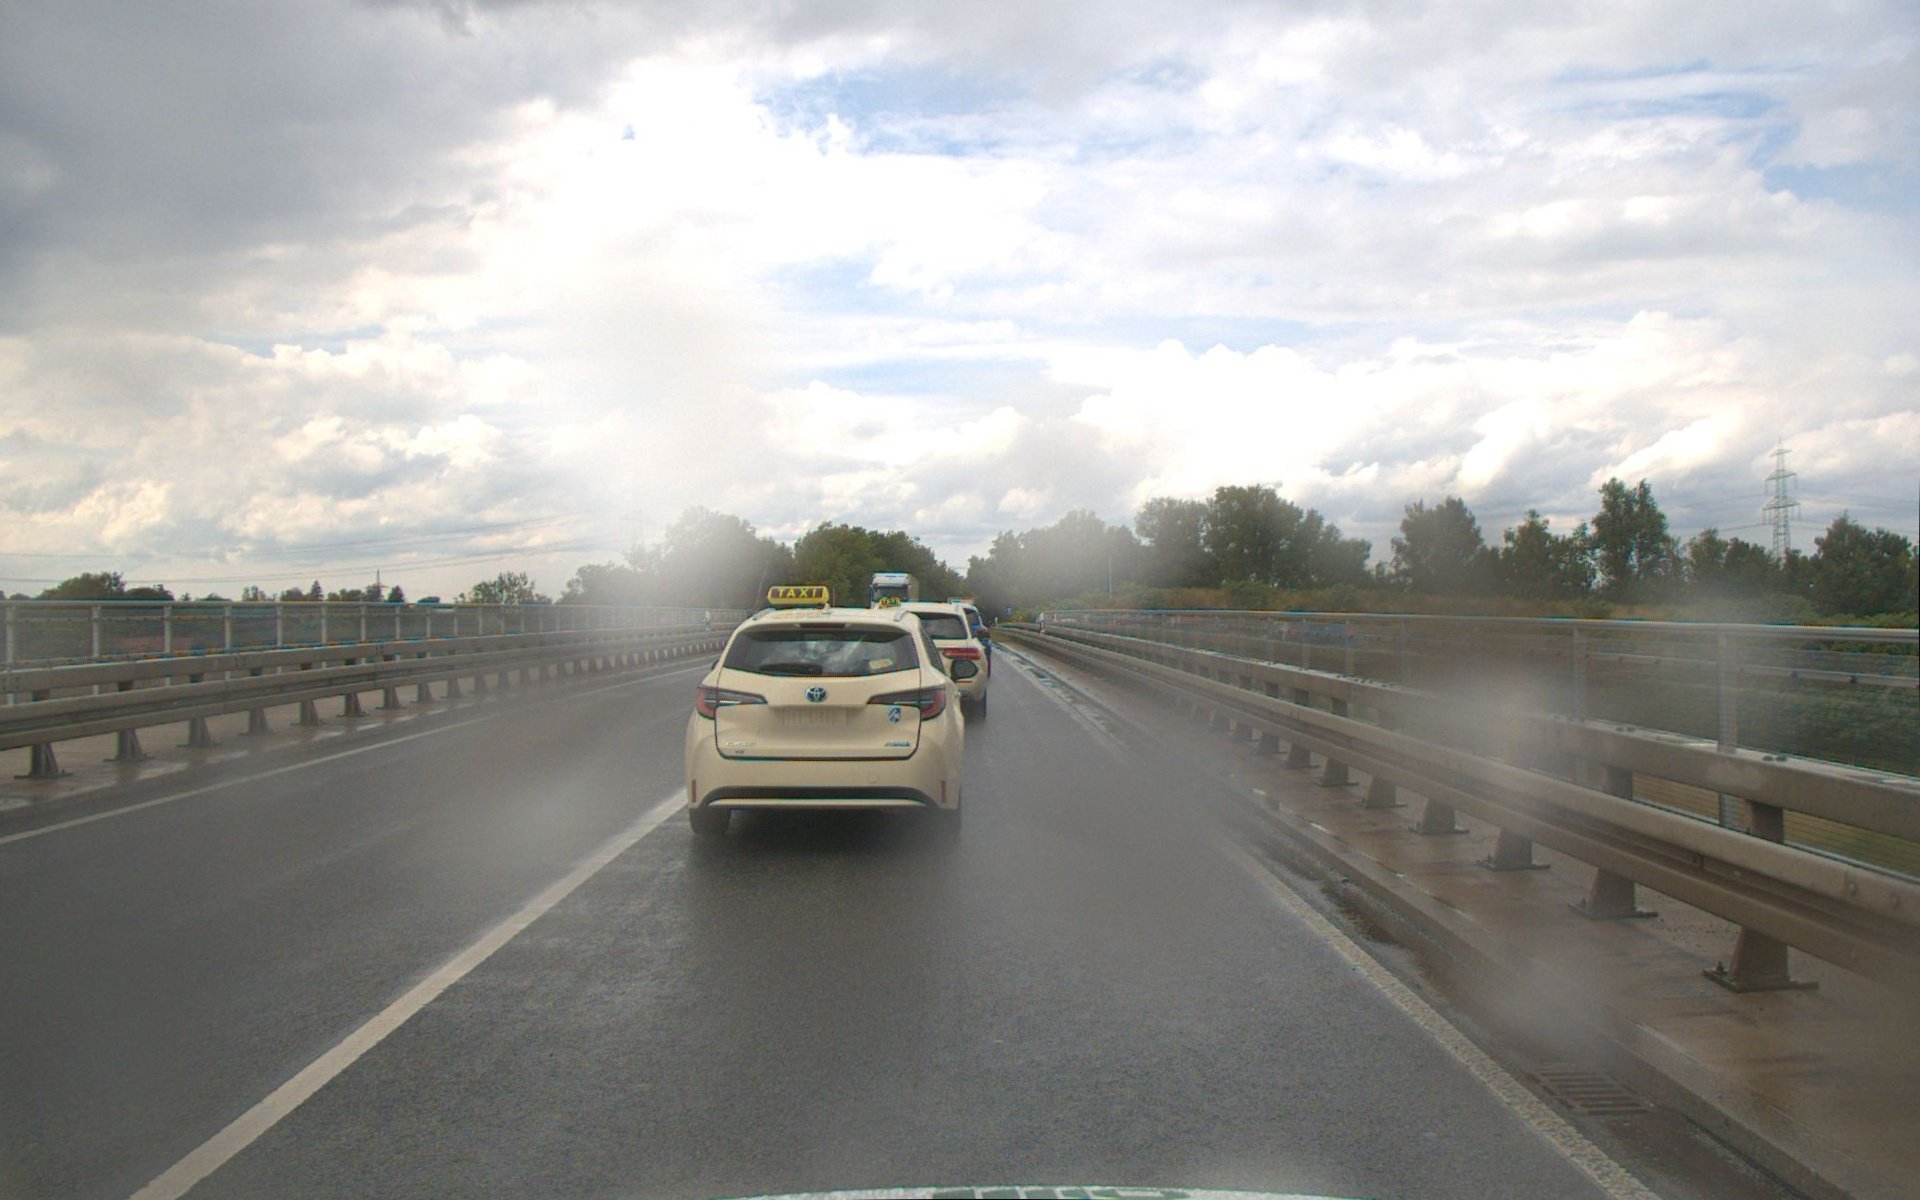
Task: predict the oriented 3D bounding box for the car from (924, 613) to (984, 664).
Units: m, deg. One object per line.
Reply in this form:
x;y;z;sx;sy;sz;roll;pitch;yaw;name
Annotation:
-0.192;1.191;52.625;1.816;1.468;4.170;1;0;-1;car

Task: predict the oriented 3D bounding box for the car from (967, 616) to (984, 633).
1.969;3.019;207.246;1.953;2.049;3.999;1;-1;-1;car

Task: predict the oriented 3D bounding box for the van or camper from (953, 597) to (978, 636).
0.471;1.551;157.619;2.285;3.625;6.305;1;-1;0;van or camper

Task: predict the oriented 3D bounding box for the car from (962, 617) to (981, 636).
1.294;2.911;180.594;1.953;2.049;3.999;1;-1;-1;car

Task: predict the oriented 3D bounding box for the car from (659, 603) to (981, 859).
-0.816;0.754;11.541;1.816;1.418;4.170;1;0;-1;car

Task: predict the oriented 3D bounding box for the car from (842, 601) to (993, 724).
-0.537;0.764;22.253;1.816;1.468;4.170;1;0;-1;car

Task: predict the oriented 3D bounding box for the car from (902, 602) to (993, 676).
-0.269;0.795;35.598;1.816;1.468;4.170;1;0;-1;car

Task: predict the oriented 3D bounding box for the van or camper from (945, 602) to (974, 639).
-0.043;1.621;134.418;2.285;2.914;6.305;1;0;0;van or camper

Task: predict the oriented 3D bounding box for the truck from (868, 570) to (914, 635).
-4.492;0.173;109.683;2.628;4.087;10.053;0;0;0;truck
